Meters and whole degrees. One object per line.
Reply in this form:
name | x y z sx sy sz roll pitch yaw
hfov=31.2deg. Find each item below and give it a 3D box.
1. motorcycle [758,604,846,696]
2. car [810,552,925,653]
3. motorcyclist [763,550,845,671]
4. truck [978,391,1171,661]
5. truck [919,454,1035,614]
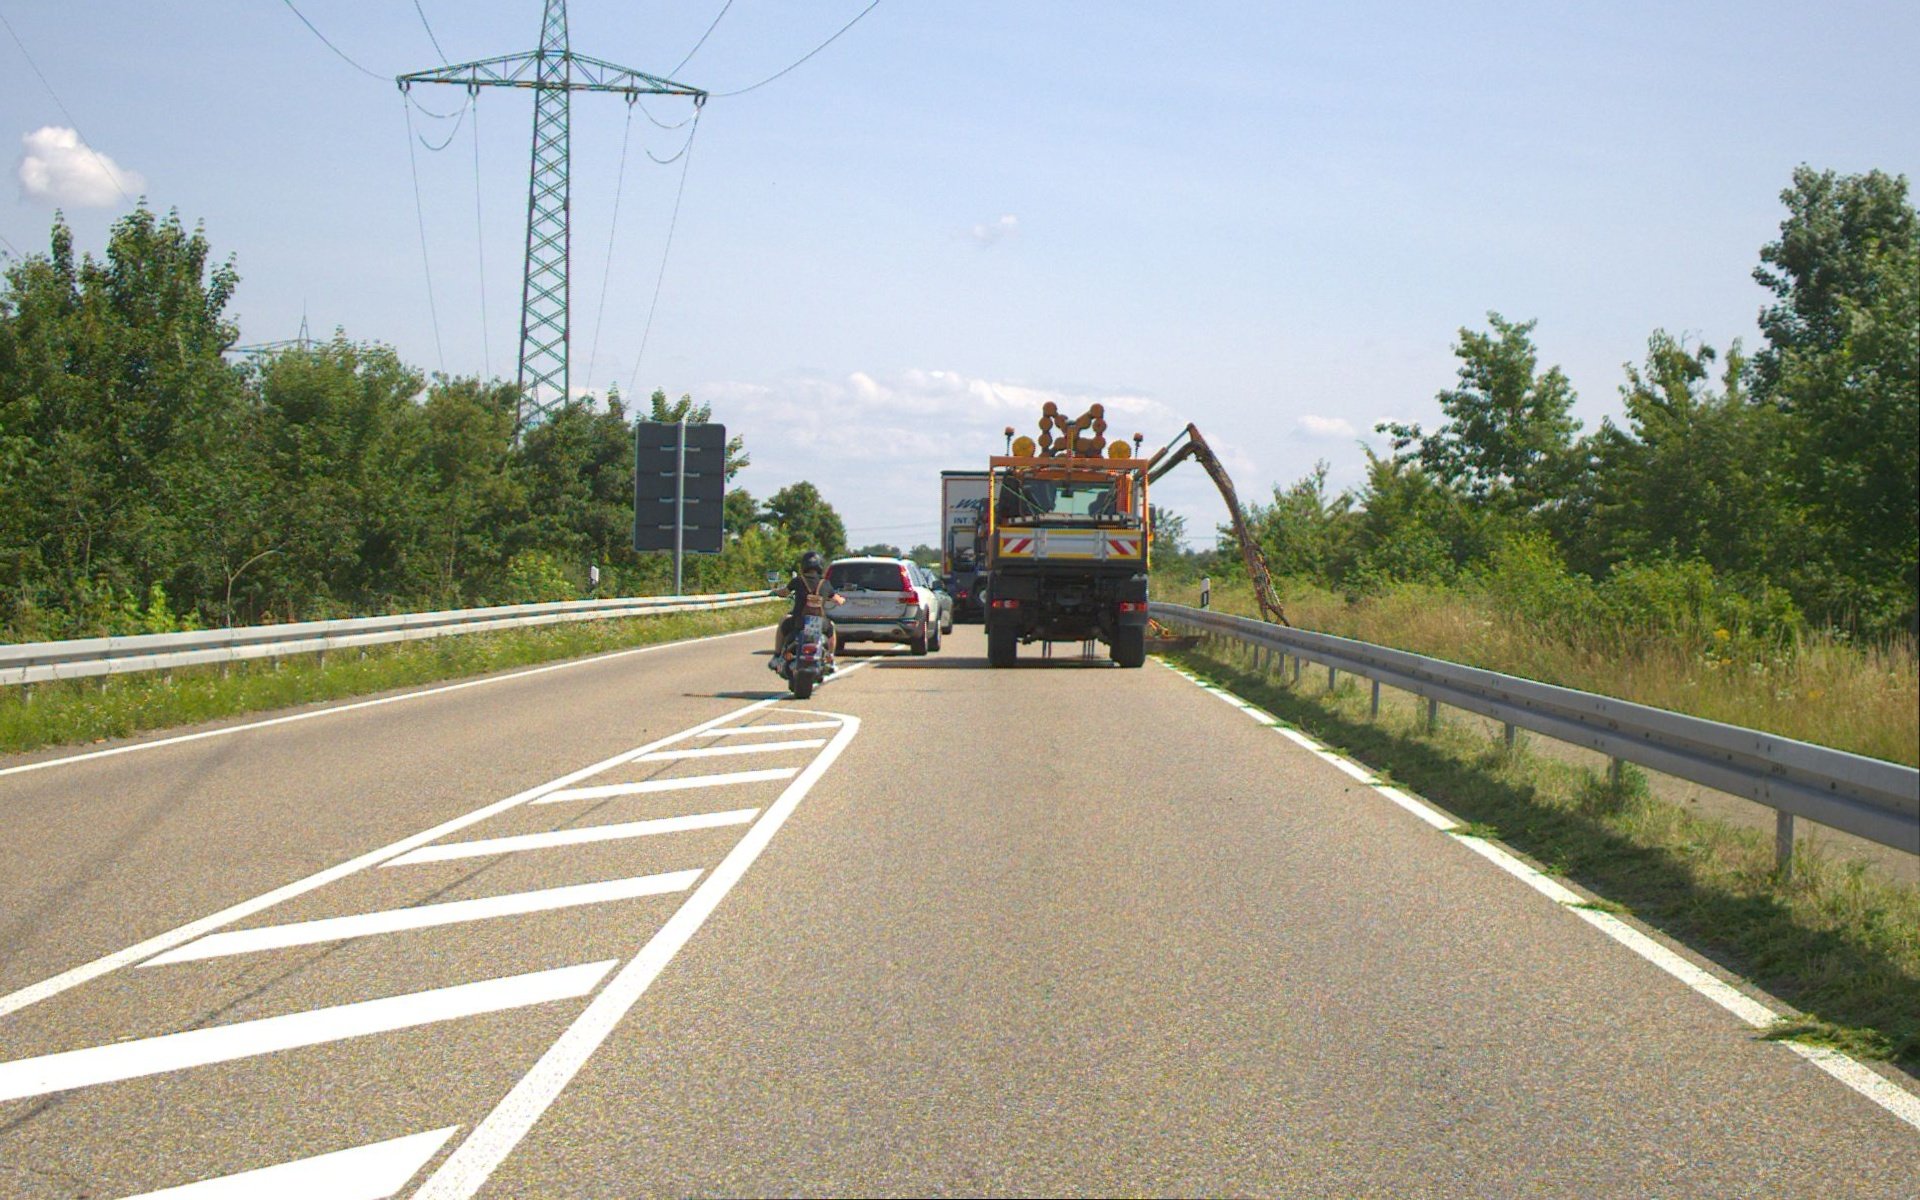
motorcycle | -1.679 0.520 36.933 0.859 0.912 2.228 -1 1 -1
car | -1.458 0.018 55.155 1.701 1.531 3.499 1 1 0
motorcyclist | -1.677 0.107 37.050 0.837 1.276 0.919 1 1 -1
truck | 1.657 -1.070 51.005 2.614 3.698 6.777 1 1 1
truck | 0.599 -1.845 97.760 2.968 4.172 14.821 1 1 1
